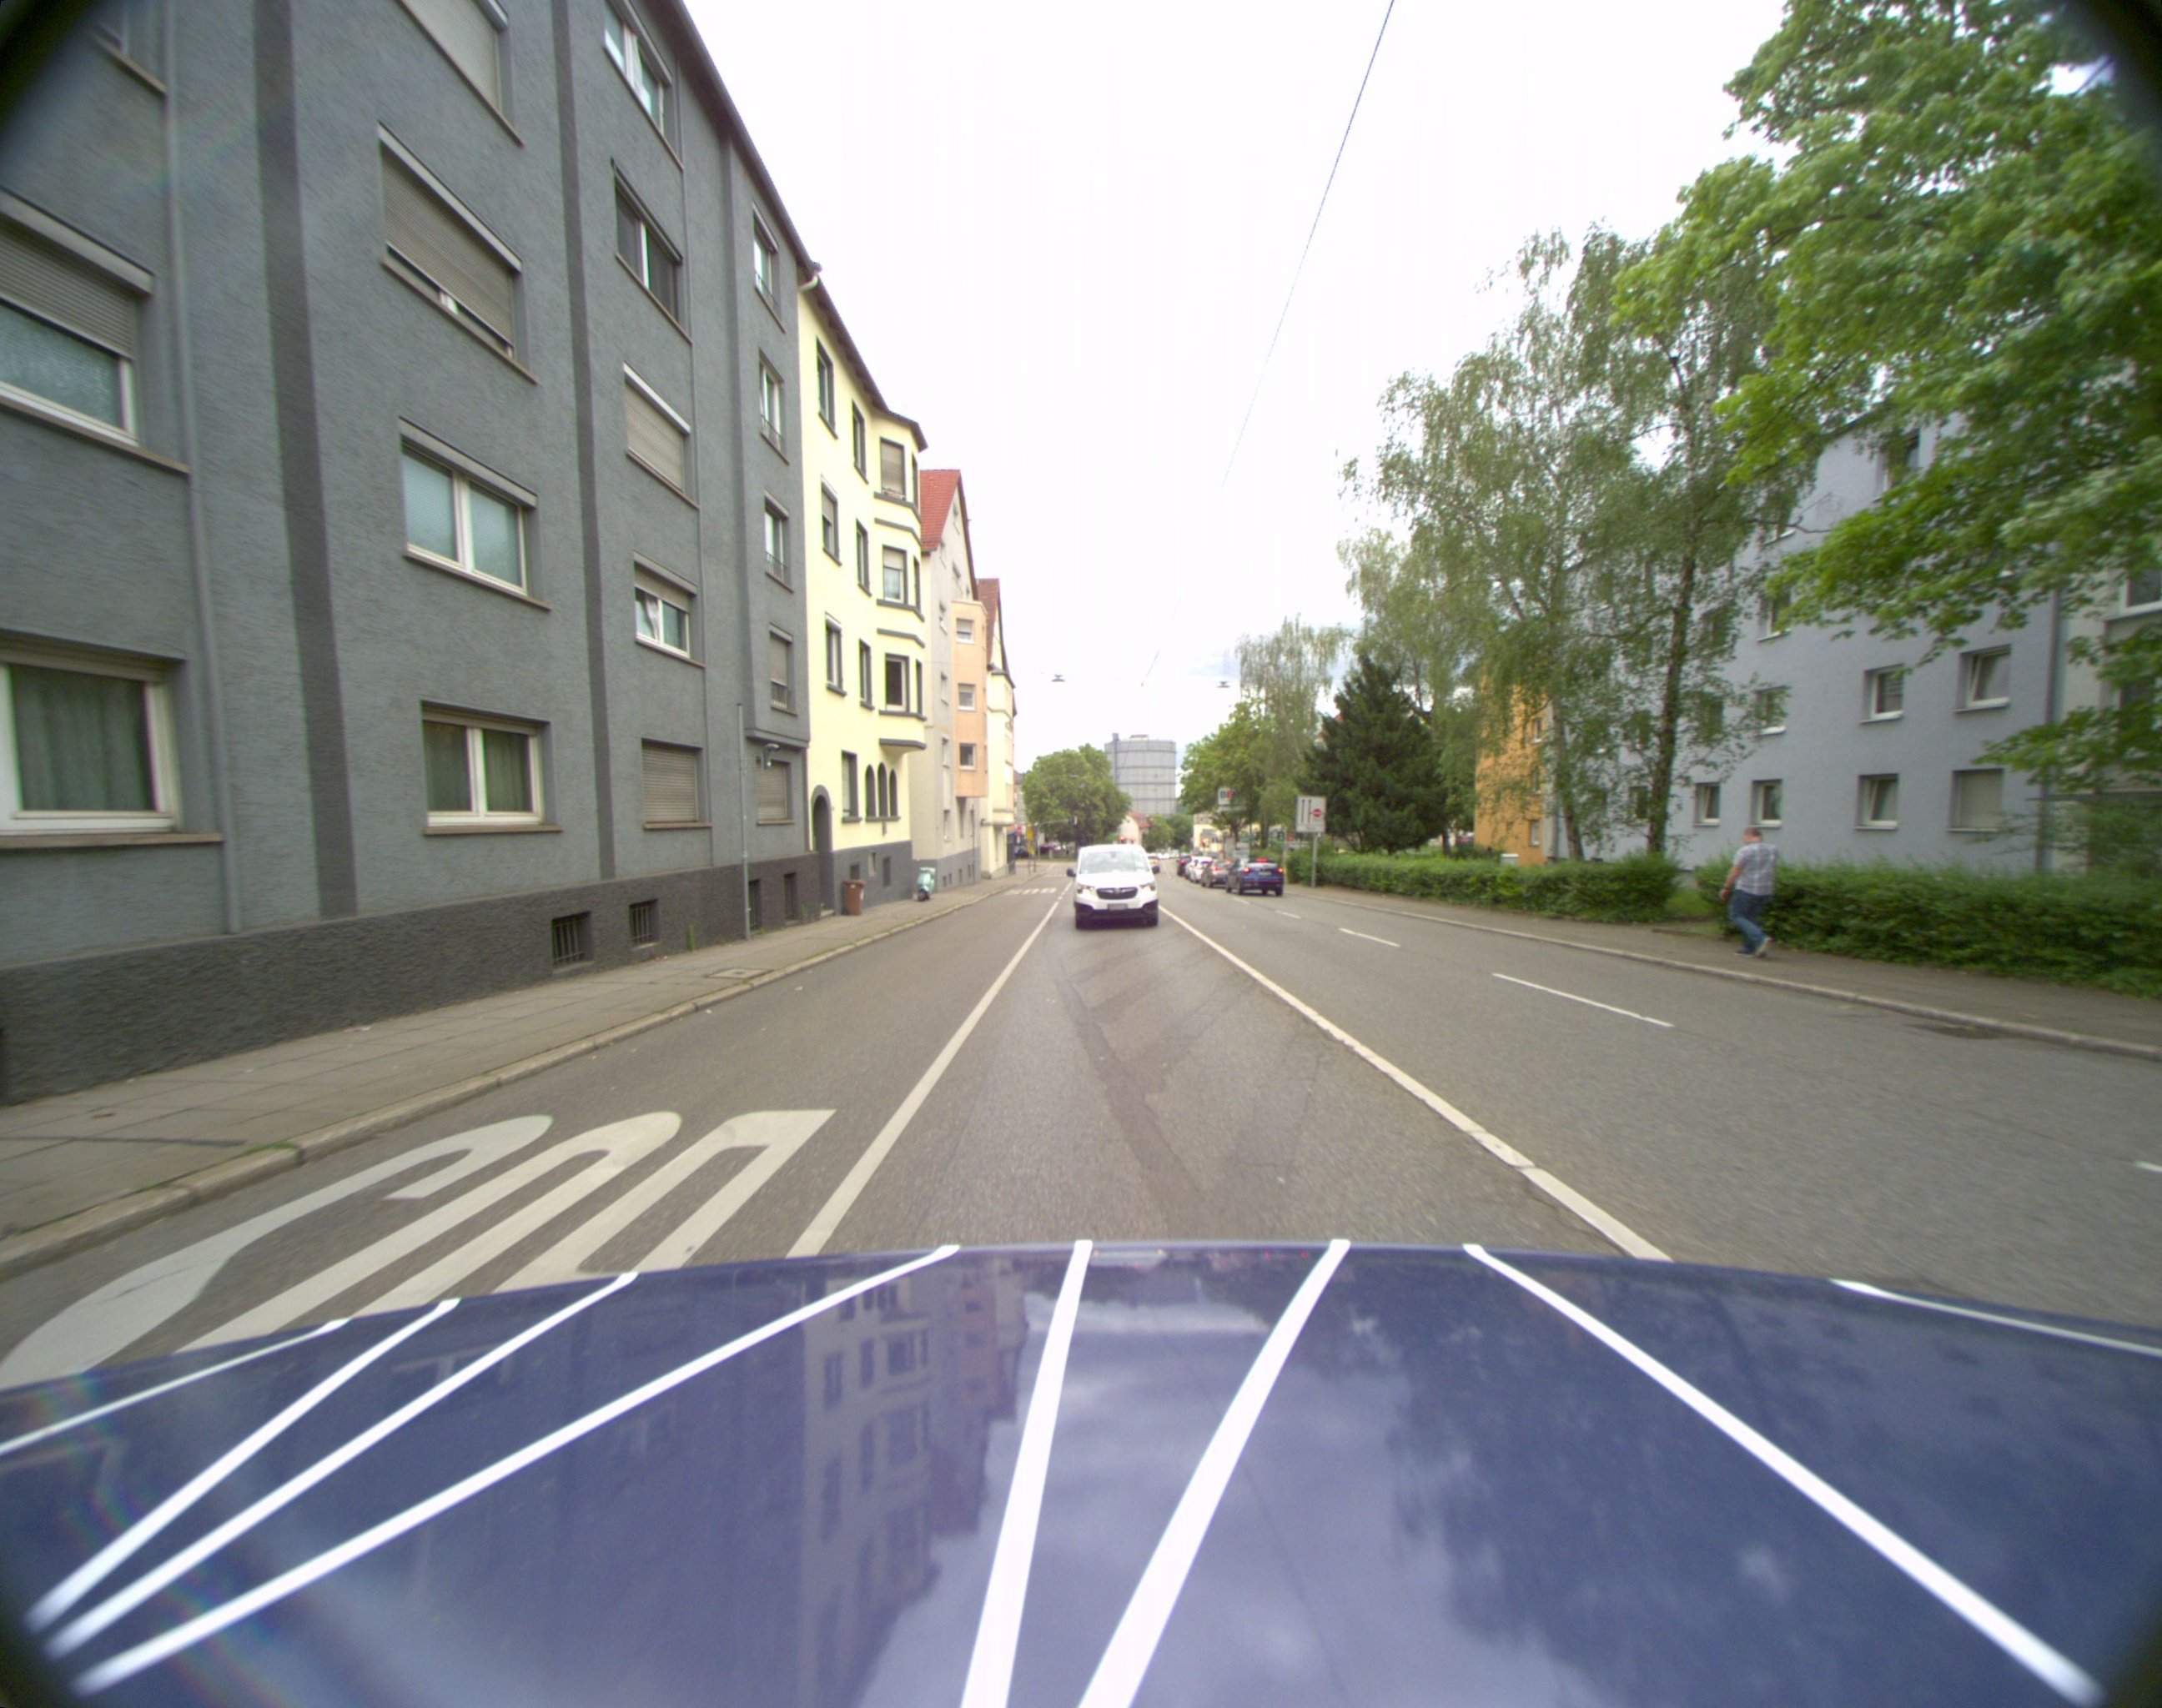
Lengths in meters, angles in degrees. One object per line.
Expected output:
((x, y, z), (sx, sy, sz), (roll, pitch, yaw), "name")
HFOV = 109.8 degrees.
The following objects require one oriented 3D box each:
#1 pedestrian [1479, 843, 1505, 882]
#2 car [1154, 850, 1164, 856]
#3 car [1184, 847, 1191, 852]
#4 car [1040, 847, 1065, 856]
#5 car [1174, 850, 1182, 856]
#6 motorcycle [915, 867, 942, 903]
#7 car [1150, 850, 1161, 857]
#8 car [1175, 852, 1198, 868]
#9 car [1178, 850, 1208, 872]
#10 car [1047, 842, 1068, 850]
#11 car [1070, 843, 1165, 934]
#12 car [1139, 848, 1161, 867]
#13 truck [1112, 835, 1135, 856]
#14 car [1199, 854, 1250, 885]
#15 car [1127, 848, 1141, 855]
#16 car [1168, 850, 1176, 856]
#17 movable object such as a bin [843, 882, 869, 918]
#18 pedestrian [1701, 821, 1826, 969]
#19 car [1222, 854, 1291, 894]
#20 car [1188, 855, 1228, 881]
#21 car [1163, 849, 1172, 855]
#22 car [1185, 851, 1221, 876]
((18.876, 0.405, 34.911), (0.724, 1.743, 0.794), (-1, -3, 6), "pedestrian")
((19.555, -0.254, 189.932), (1.996, 1.590, 4.004), (-2, 0, 13), "car")
((35.809, -1.361, 256.326), (1.996, 1.590, 4.004), (-2, 0, 13), "car")
((-5.011, -0.405, 134.292), (4.007, 1.496, 1.858), (-1, 2, -36), "car")
((29.874, -0.275, 233.720), (1.996, 1.590, 4.004), (-2, 0, 13), "car")
((-5.325, 1.053, 26.571), (0.539, 1.149, 2.226), (2, 0, -2), "motorcycle")
((17.579, -0.128, 179.762), (1.996, 1.590, 4.004), (-2, 0, 13), "car")
((9.094, 0.534, 65.548), (1.805, 1.274, 4.238), (2, 0, 6), "car")
((8.615, 0.519, 58.893), (1.955, 1.633, 4.414), (2, 0, 4), "car")
((-4.429, -1.589, 143.797), (3.624, 1.496, 1.787), (-1, 2, -41), "car")
((0.807, 0.693, 17.704), (1.888, 1.827, 4.677), (-1, 0, 2), "car")
((5.957, 0.273, 65.637), (1.779, 1.538, 4.326), (1, 0, 5), "car")
((7.721, -1.559, 137.652), (2.769, 3.482, 8.177), (-2, 1, 12), "truck")
((7.187, 0.753, 38.565), (1.843, 1.439, 4.311), (1, 0, 1), "car")
((10.170, -0.510, 146.403), (1.916, 1.291, 4.413), (-2, 1, 13), "car")
((26.809, -0.327, 223.750), (1.996, 1.590, 4.004), (-2, 0, 13), "car")
((-5.807, 1.186, 19.620), (0.476, 0.887, 0.517), (2, 1, 0), "movable object such as a bin")
((9.506, 0.550, 10.620), (0.884, 1.938, 0.867), (-3, 0, 1), "pedestrian")
((7.021, 0.765, 30.821), (1.843, 1.439, 4.311), (1, 0, 1), "car")
((7.562, 0.803, 45.491), (1.843, 1.404, 4.074), (2, 0, 2), "car")
((23.808, -0.505, 208.416), (1.996, 1.590, 4.004), (-2, 0, 13), "car")
((8.235, 0.627, 51.746), (1.956, 1.584, 4.499), (2, 0, 3), "car")
